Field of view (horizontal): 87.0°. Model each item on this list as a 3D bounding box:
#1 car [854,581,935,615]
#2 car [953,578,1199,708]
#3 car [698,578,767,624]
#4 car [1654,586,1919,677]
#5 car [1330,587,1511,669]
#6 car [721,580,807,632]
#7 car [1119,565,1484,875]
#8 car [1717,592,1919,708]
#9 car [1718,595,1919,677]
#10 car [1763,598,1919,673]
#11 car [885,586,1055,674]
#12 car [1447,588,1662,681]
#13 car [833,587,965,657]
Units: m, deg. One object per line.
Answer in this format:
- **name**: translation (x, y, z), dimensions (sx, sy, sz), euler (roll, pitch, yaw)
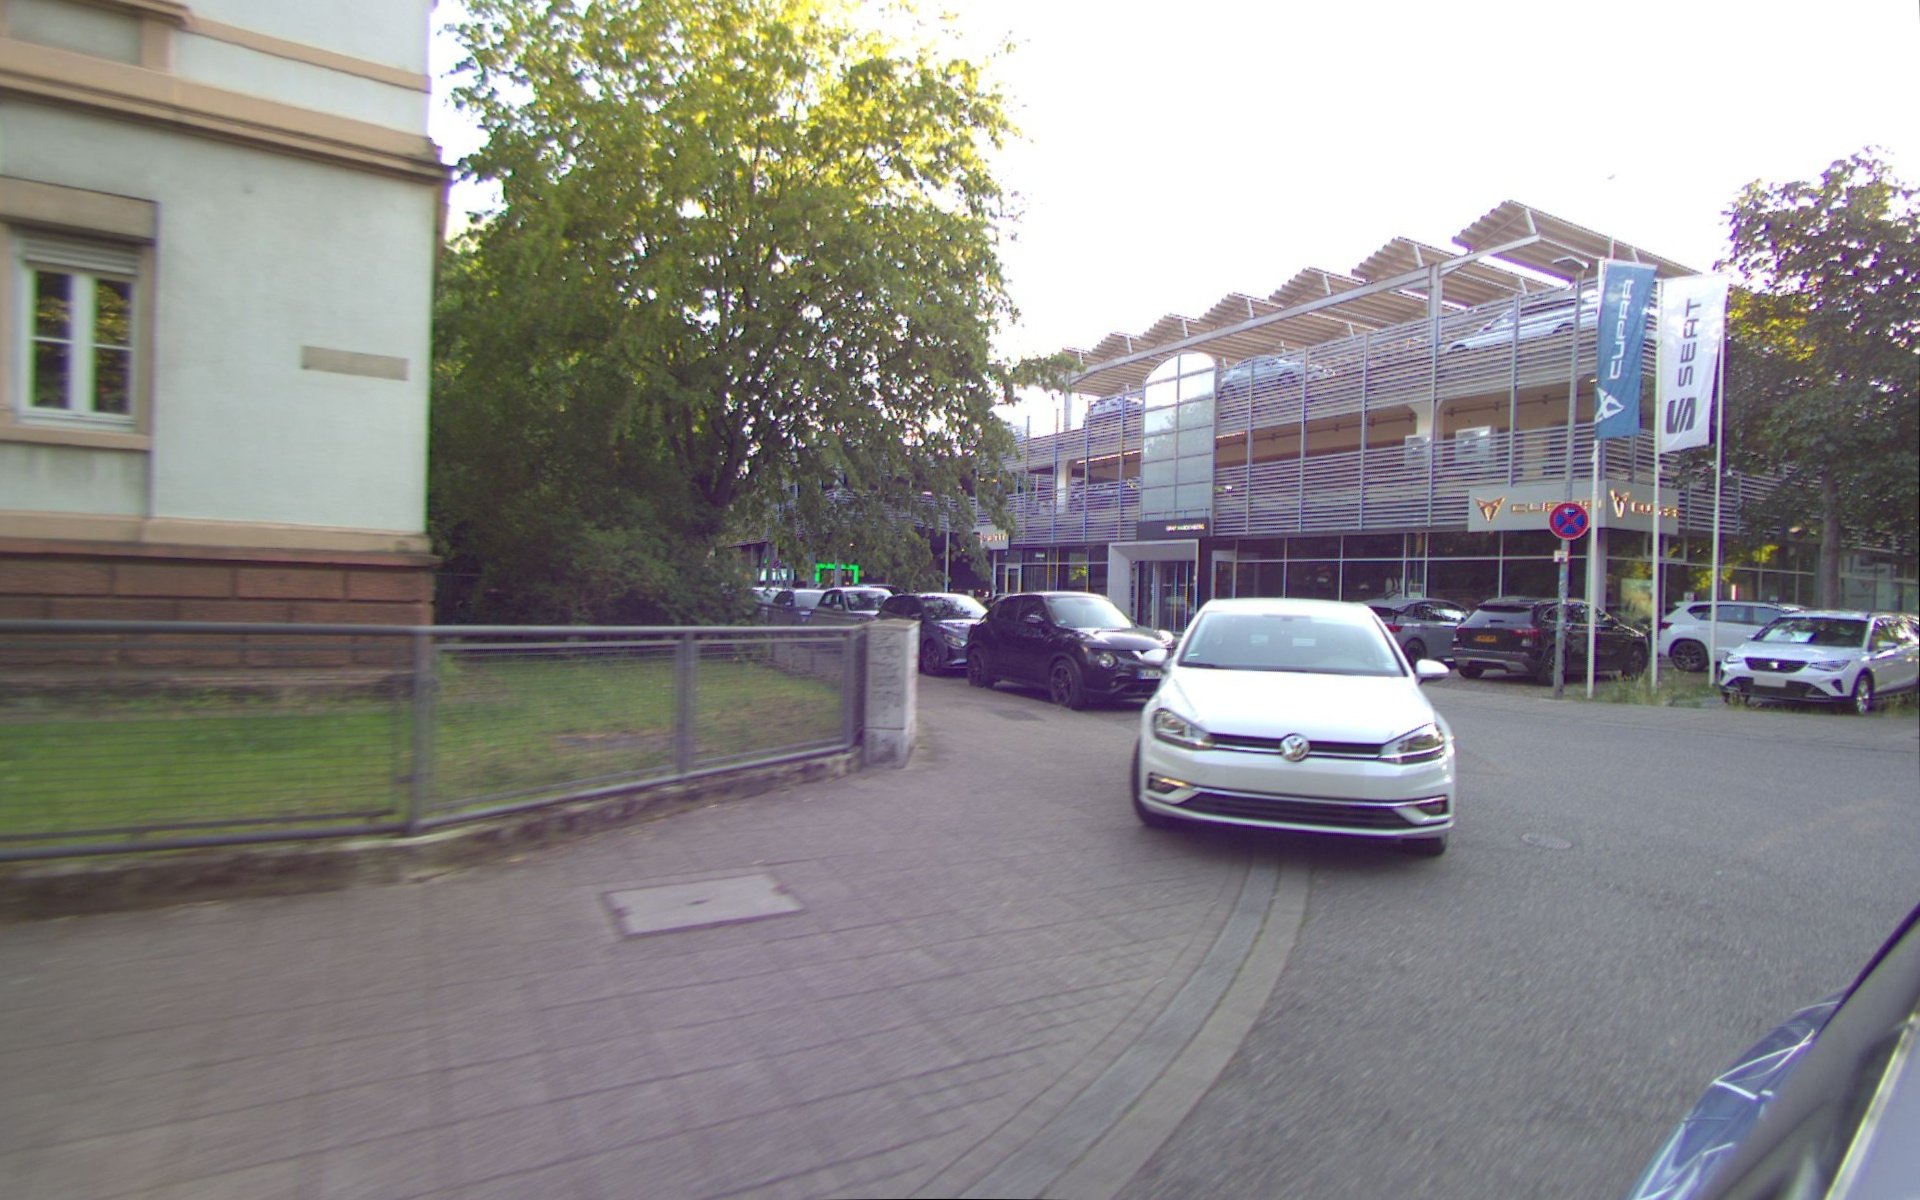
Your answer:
- **car**: translation (-3.423, -0.106, 53.009), dimensions (3.846, 1.587, 1.636), euler (2, 0, -26)
- **car**: translation (1.497, 0.498, 14.543), dimensions (1.599, 1.564, 3.950), euler (0, 1, -26)
- **car**: translation (-8.611, 0.007, 38.128), dimensions (1.599, 1.587, 4.137), euler (2, 0, -25)
- **car**: translation (17.388, 0.582, 20.972), dimensions (1.835, 1.664, 4.596), euler (2, 0, -30)
- **car**: translation (10.109, 0.544, 22.205), dimensions (3.618, 1.611, 1.709), euler (-1, 1, -26)
- **car**: translation (-6.277, 0.141, 32.030), dimensions (1.599, 1.452, 4.137), euler (2, 0, -26)
- **car**: translation (2.286, 0.595, 7.229), dimensions (1.787, 1.520, 4.150), euler (0, 0, 16)
- **car**: translation (13.819, 0.733, 15.858), dimensions (3.824, 1.592, 1.770), euler (2, 0, -31)
- **car**: translation (19.641, 0.750, 22.090), dimensions (1.835, 1.637, 4.596), euler (2, 0, -30)
- **car**: translation (21.488, 0.805, 23.088), dimensions (1.835, 1.592, 4.596), euler (2, 0, -30)
- **car**: translation (0.084, 0.510, 19.417), dimensions (1.600, 1.452, 3.790), euler (2, 0, -28)
- **car**: translation (11.514, 0.605, 19.560), dimensions (4.043, 1.626, 1.720), euler (0, 1, -28)
- **car**: translation (-1.491, 0.466, 23.410), dimensions (1.600, 1.453, 3.692), euler (2, 0, -28)
